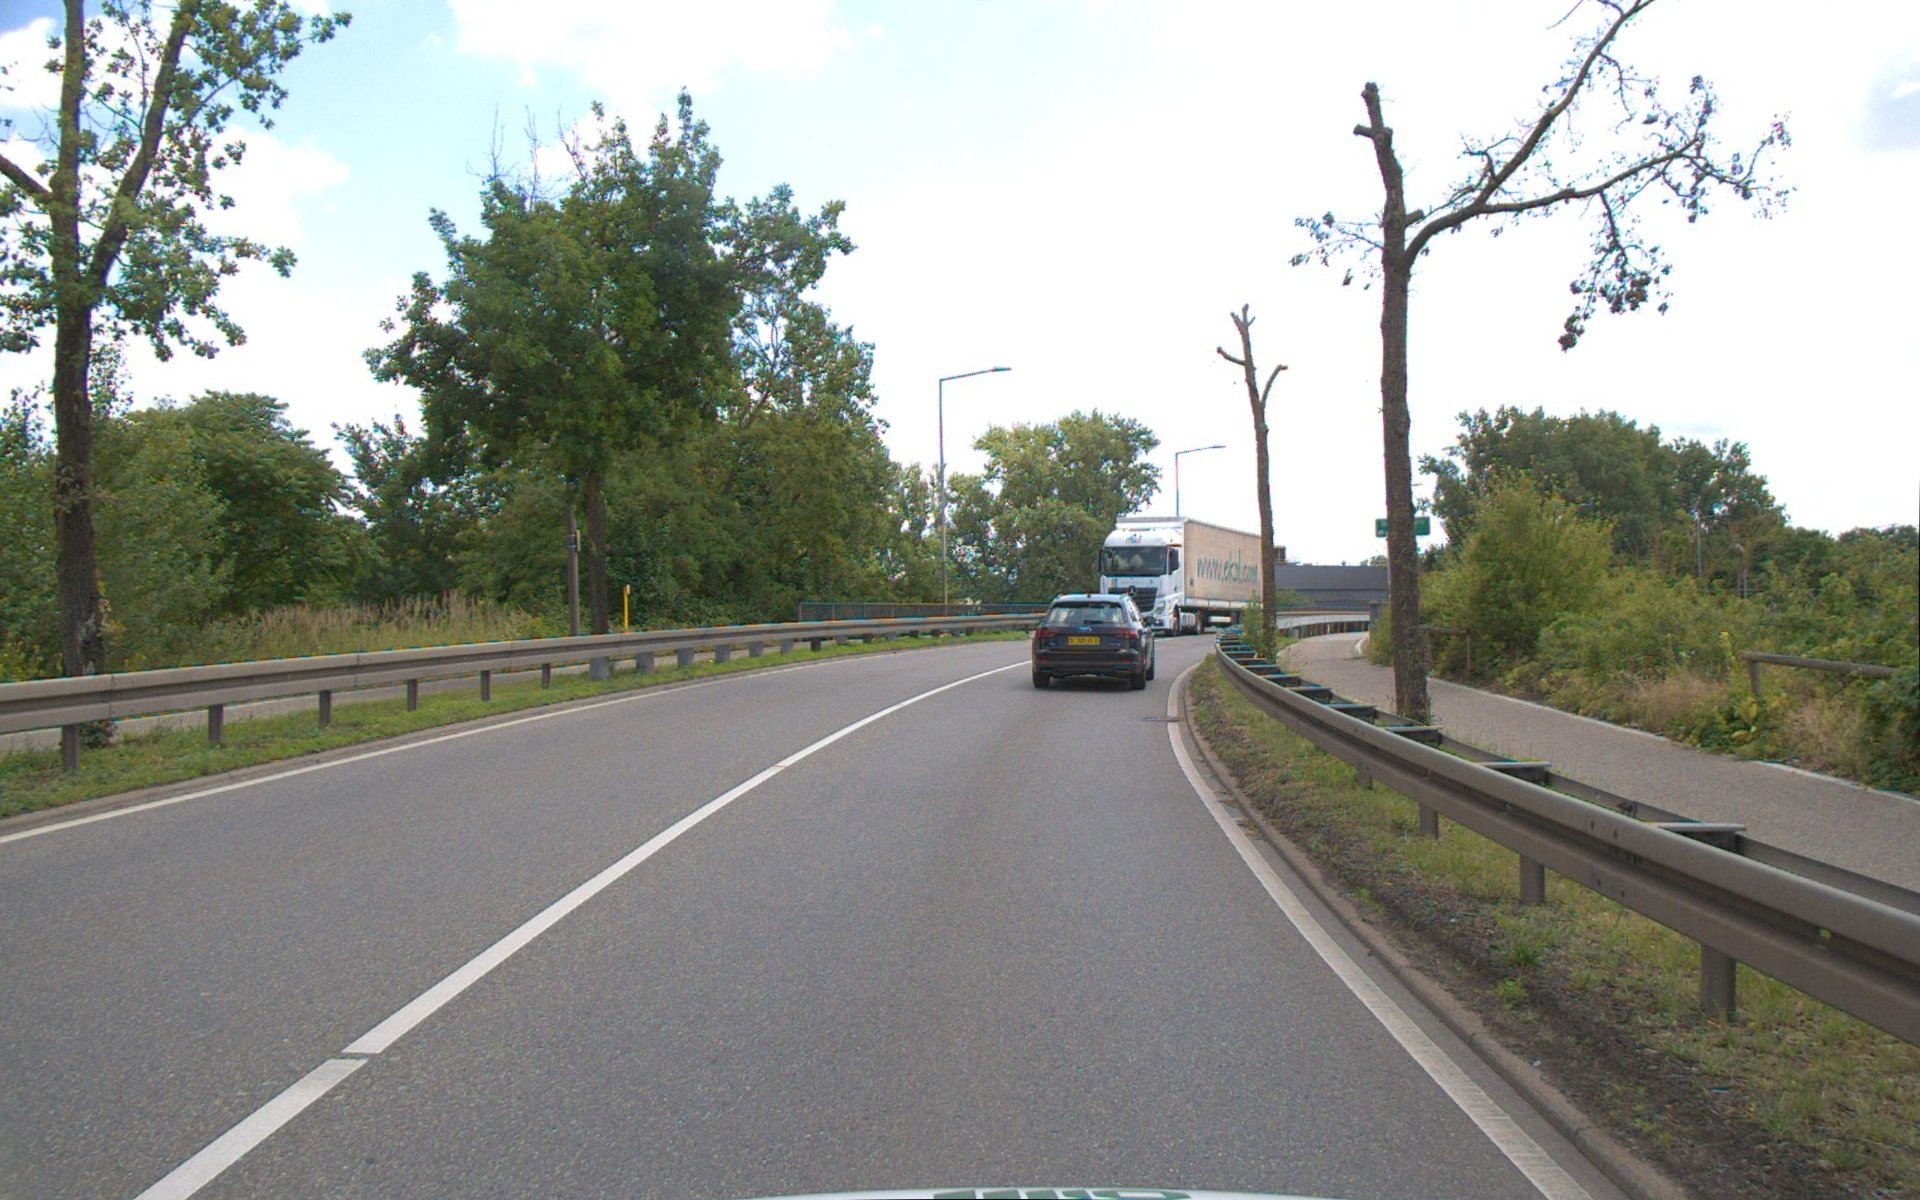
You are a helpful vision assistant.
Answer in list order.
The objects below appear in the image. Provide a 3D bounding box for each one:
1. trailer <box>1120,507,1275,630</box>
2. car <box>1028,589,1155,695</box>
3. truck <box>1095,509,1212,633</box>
[{"bbox_3d":[9.752,-1.128,65.865,2.651,4.354,14.228,0,0,22],"label":"trailer"},{"bbox_3d":[2.202,0.616,26.780,1.789,1.517,4.210,1,1,8],"label":"car"},{"bbox_3d":[6.981,-0.996,59.044,2.705,4.207,5.652,0,0,22],"label":"truck"}]
